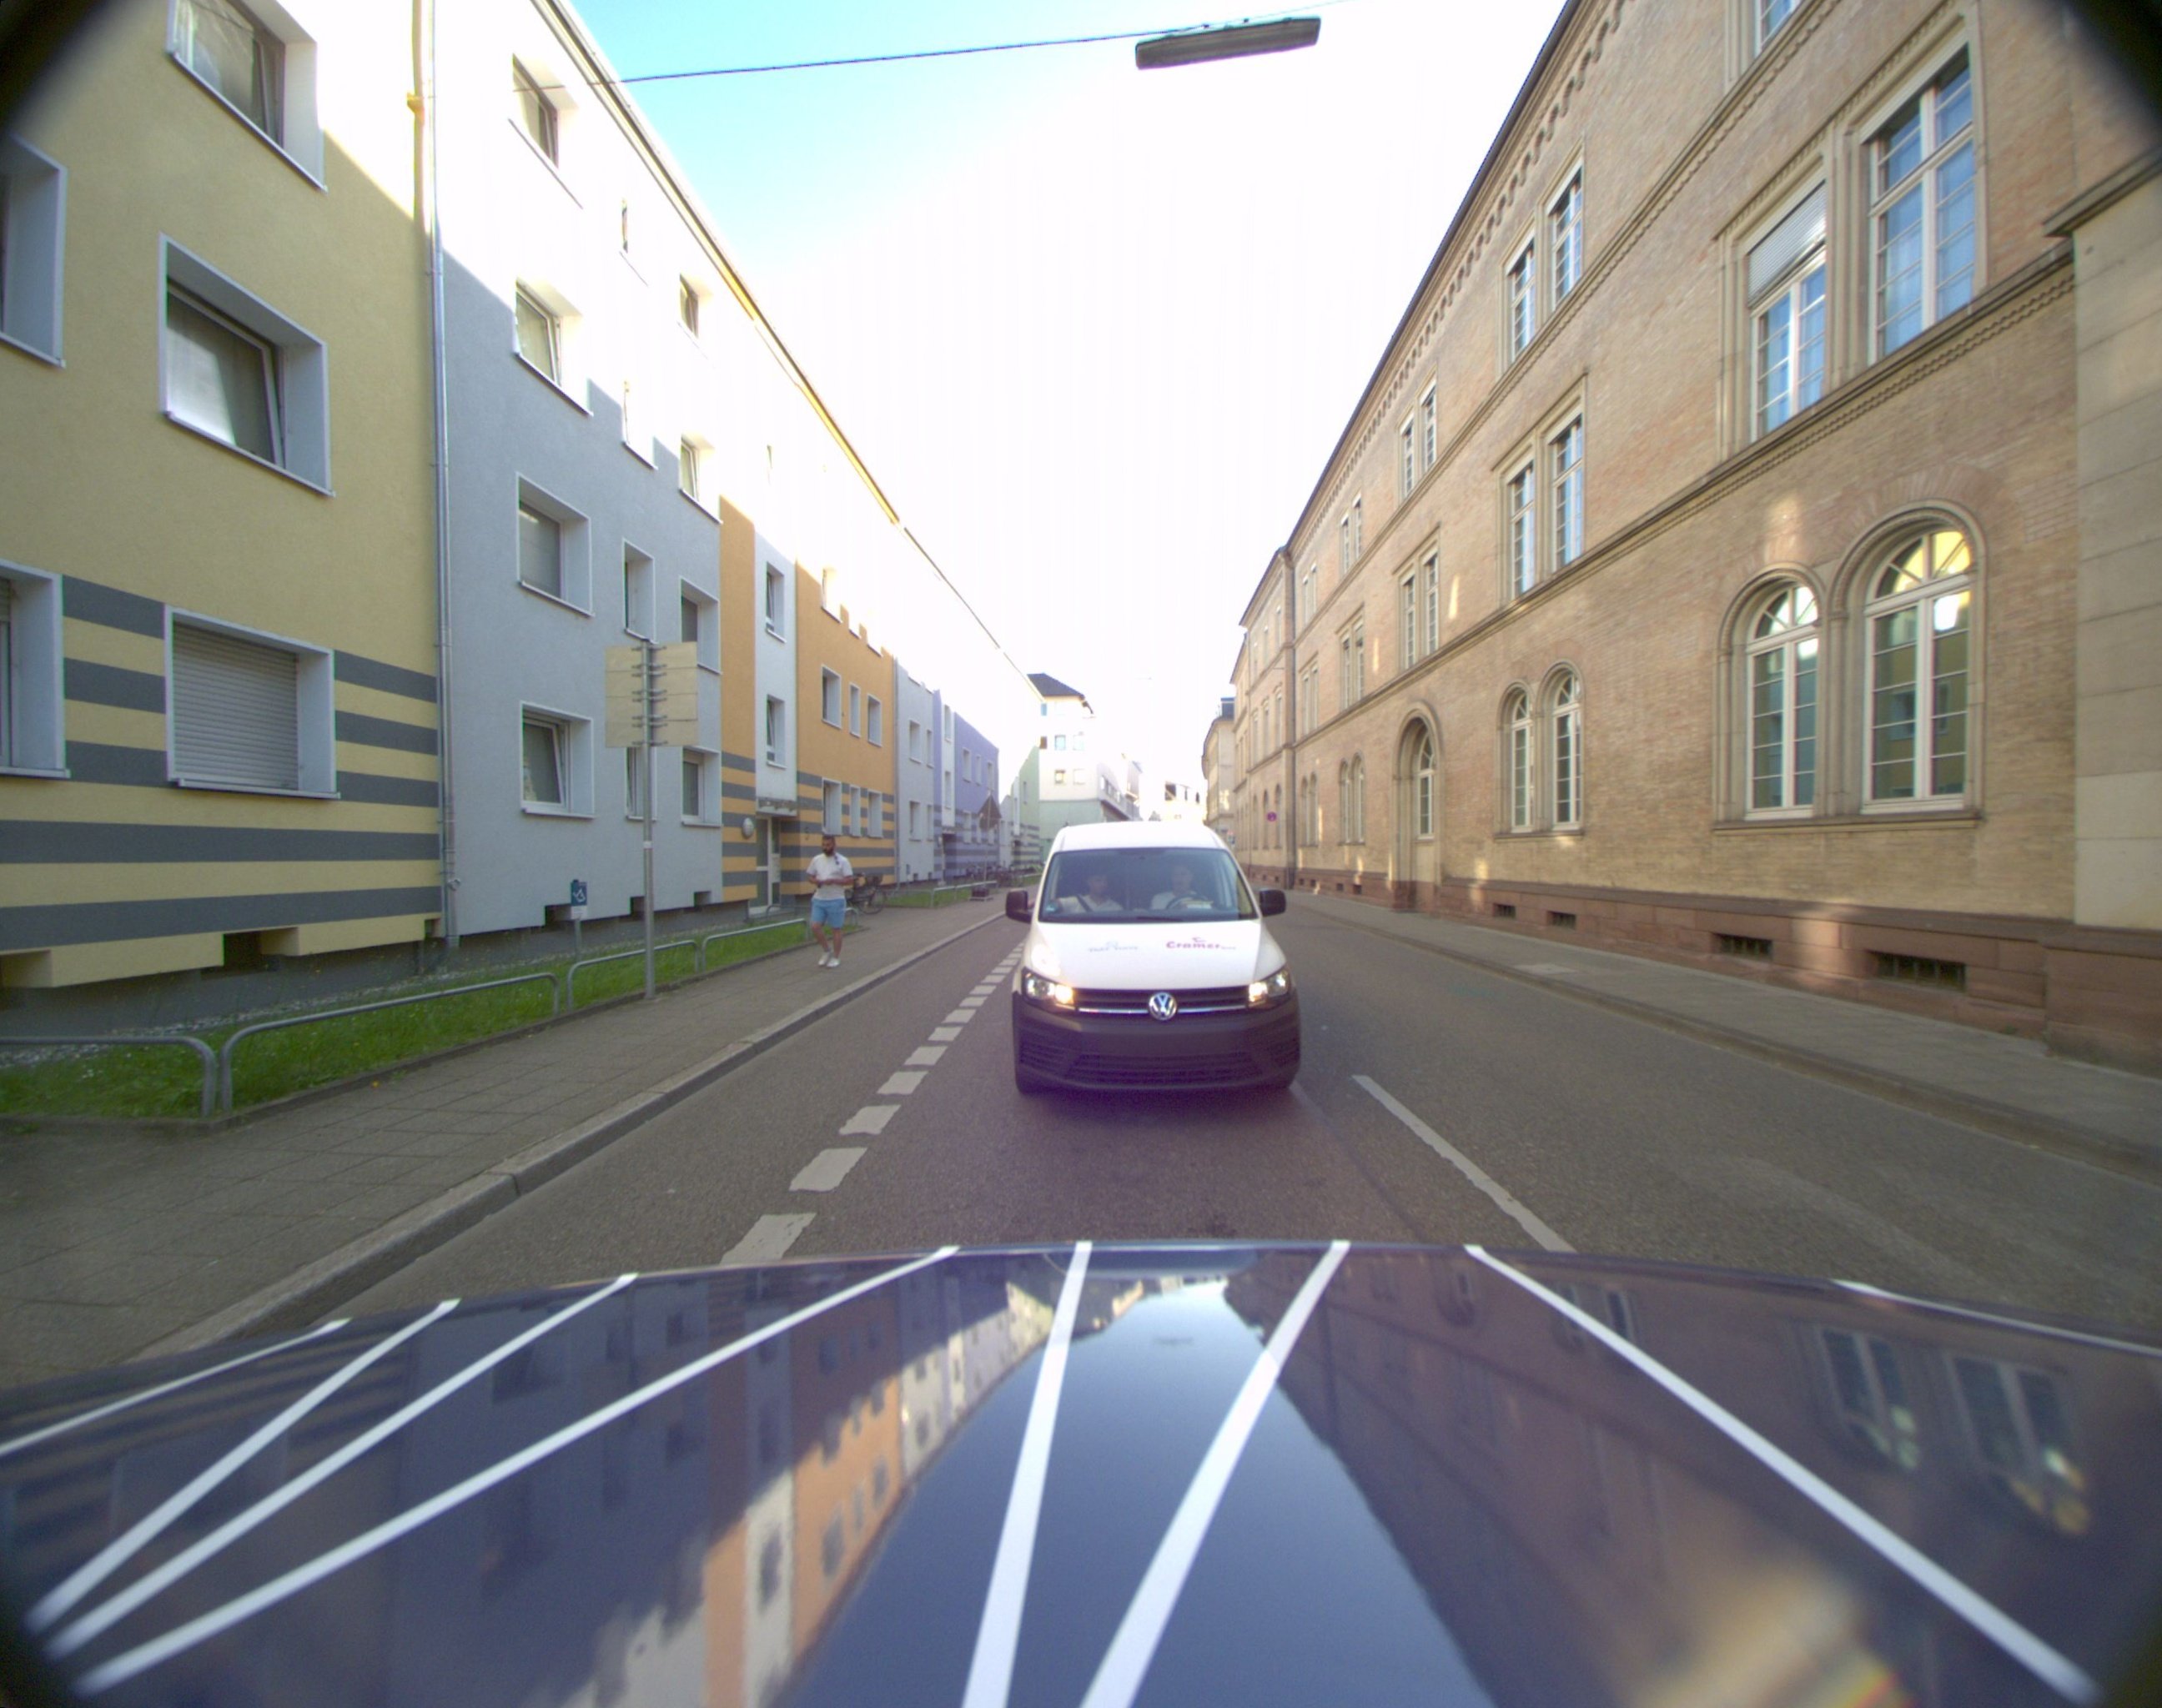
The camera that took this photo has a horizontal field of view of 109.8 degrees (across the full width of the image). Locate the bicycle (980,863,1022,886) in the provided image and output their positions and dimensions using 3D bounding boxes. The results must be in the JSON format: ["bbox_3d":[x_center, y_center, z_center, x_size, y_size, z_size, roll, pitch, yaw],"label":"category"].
[{"bbox_3d":[-3.575,0.910,34.139,1.775,0.934,0.584,1,1,7],"label":"bicycle"}]

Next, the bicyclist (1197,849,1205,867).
[{"bbox_3d":[9.526,0.288,60.451,0.604,1.434,0.578,0,1,4],"label":"bicyclist"}]

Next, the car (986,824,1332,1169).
[{"bbox_3d":[0.454,0.746,6.696,1.819,1.826,5.341,0,0,1],"label":"car"}]

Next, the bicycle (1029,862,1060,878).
[{"bbox_3d":[-2.210,0.971,46.392,1.775,0.934,0.584,1,1,7],"label":"bicycle"}]

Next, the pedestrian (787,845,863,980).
[{"bbox_3d":[-3.265,0.717,9.747,0.644,1.662,0.834,1,1,3],"label":"pedestrian"}]

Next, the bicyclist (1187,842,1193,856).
[{"bbox_3d":[12.464,-0.547,86.793,0.651,1.558,0.961,2,1,8],"label":"bicyclist"}]

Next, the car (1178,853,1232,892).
[{"bbox_3d":[5.334,0.754,33.238,1.891,1.467,4.546,2,1,4],"label":"car"}]

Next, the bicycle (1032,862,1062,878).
[{"bbox_3d":[-2.127,0.992,47.929,1.775,0.934,0.584,1,1,7],"label":"bicycle"}]

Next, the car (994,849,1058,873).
[{"bbox_3d":[-4.409,0.556,60.872,4.762,1.927,2.001,0,1,9],"label":"car"}]

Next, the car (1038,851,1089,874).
[{"bbox_3d":[-1.458,0.717,63.792,3.995,1.682,1.901,-2,1,5],"label":"car"}]

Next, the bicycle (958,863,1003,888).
[{"bbox_3d":[-4.245,0.895,32.182,1.775,0.990,0.584,1,1,7],"label":"bicycle"}]

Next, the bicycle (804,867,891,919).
[{"bbox_3d":[-5.340,0.894,17.428,1.776,1.118,0.583,1,1,-1],"label":"bicycle"}]

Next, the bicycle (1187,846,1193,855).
[{"bbox_3d":[12.470,-0.397,86.803,0.651,1.001,1.807,2,0,8],"label":"bicycle"}]

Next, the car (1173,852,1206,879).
[{"bbox_3d":[6.731,0.666,47.651,1.689,1.573,4.276,2,0,4],"label":"car"}]

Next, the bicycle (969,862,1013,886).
[{"bbox_3d":[-3.967,0.876,33.524,1.775,0.990,0.584,1,1,7],"label":"bicycle"}]
